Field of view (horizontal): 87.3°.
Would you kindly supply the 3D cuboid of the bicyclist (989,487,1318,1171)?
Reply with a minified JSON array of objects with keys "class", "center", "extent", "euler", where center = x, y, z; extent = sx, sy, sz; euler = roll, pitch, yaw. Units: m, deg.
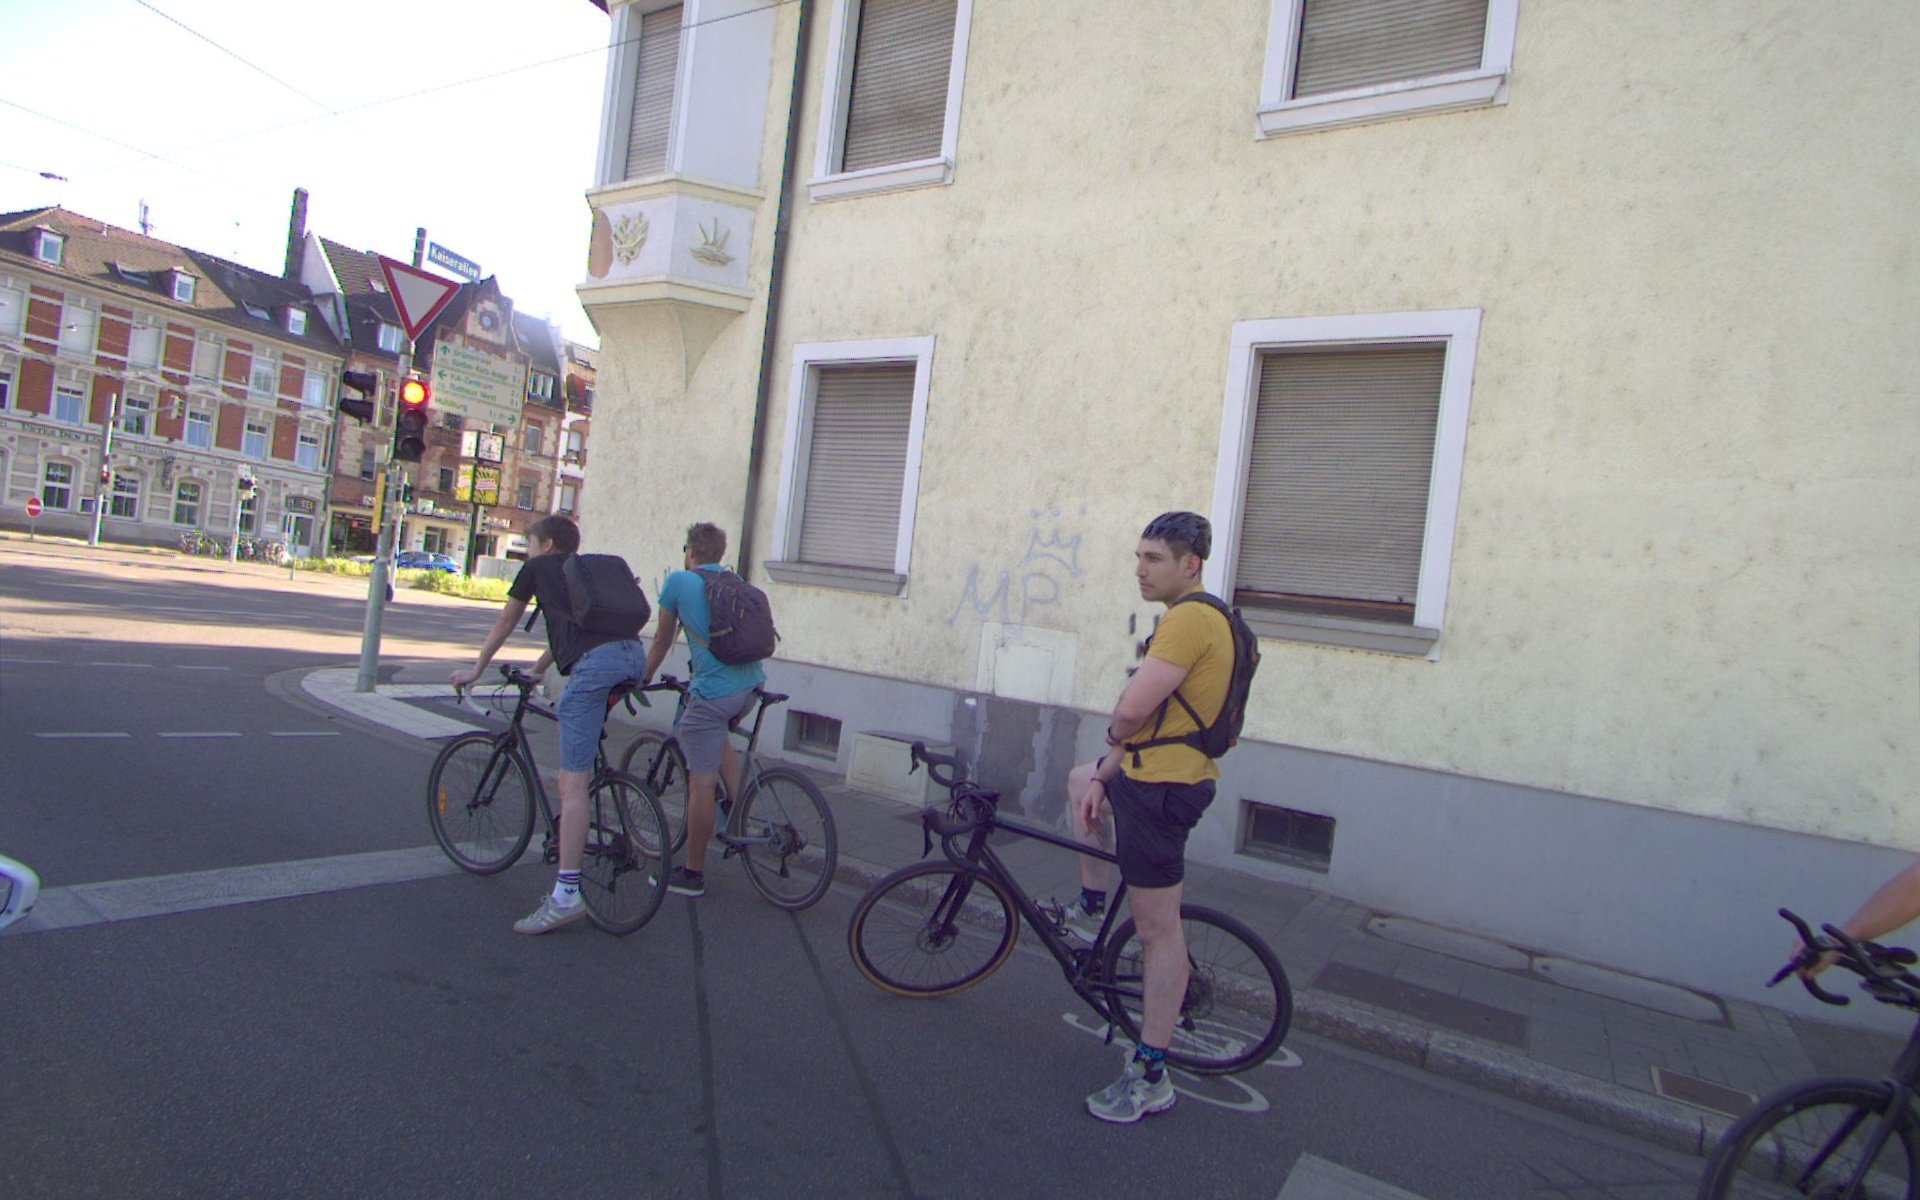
[{"class":"bicyclist","center":[0.699,0.695,3.491],"extent":[0.763,1.990,0.783],"euler":[7,0,18]}]

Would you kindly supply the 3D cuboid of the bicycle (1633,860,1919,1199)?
[{"class":"bicycle","center":[2.737,1.390,2.493],"extent":[1.595,1.089,0.556],"euler":[6,1,18]}]

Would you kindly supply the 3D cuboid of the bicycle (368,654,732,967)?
[{"class":"bicycle","center":[-1.900,0.860,4.549],"extent":[1.753,1.003,0.482],"euler":[6,-1,32]}]

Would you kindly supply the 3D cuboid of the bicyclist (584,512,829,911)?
[{"class":"bicyclist","center":[-1.327,0.532,5.258],"extent":[0.960,1.868,0.504],"euler":[6,-1,32]}]

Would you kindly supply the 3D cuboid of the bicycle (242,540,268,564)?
[{"class":"bicycle","center":[-33.624,-2.307,47.977],"extent":[0.762,1.019,2.196],"euler":[8,-2,-39]}]

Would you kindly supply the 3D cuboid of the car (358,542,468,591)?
[{"class":"car","center":[-25.438,-1.547,46.884],"extent":[1.775,1.641,3.994],"euler":[6,-2,33]}]

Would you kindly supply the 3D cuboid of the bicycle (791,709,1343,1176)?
[{"class":"bicycle","center":[0.396,1.102,3.671],"extent":[1.709,1.119,0.783],"euler":[7,-1,18]}]

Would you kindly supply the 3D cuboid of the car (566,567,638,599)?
[{"class":"car","center":[-23.136,-1.085,65.155],"extent":[1.842,1.454,3.985],"euler":[6,-2,35]}]

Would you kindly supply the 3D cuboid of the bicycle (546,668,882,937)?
[{"class":"bicycle","center":[-1.315,0.970,5.216],"extent":[1.753,0.995,0.504],"euler":[6,-1,32]}]

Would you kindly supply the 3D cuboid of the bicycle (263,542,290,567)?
[{"class":"bicycle","center":[-33.011,-2.201,48.606],"extent":[0.789,1.027,2.186],"euler":[8,-2,-39]}]

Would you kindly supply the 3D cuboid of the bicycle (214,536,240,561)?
[{"class":"bicycle","center":[-34.262,-2.417,47.017],"extent":[0.762,0.995,2.186],"euler":[8,-2,-39]}]

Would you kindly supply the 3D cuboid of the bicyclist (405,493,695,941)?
[{"class":"bicyclist","center":[-1.851,0.472,4.552],"extent":[0.920,1.787,0.590],"euler":[6,-1,32]}]

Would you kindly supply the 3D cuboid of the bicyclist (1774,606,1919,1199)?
[{"class":"bicyclist","center":[2.784,0.902,2.480],"extent":[0.716,1.716,1.020],"euler":[6,1,17]}]

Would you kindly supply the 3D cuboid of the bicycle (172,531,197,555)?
[{"class":"bicycle","center":[-35.360,-2.608,45.870],"extent":[0.762,0.974,2.186],"euler":[8,-2,-39]}]

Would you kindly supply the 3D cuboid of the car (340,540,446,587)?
[{"class":"car","center":[-27.637,-1.749,49.140],"extent":[1.775,1.641,3.994],"euler":[6,-2,33]}]

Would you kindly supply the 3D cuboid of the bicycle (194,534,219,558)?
[{"class":"bicycle","center":[-34.759,-2.507,46.395],"extent":[0.762,0.979,2.186],"euler":[8,-2,-39]}]
